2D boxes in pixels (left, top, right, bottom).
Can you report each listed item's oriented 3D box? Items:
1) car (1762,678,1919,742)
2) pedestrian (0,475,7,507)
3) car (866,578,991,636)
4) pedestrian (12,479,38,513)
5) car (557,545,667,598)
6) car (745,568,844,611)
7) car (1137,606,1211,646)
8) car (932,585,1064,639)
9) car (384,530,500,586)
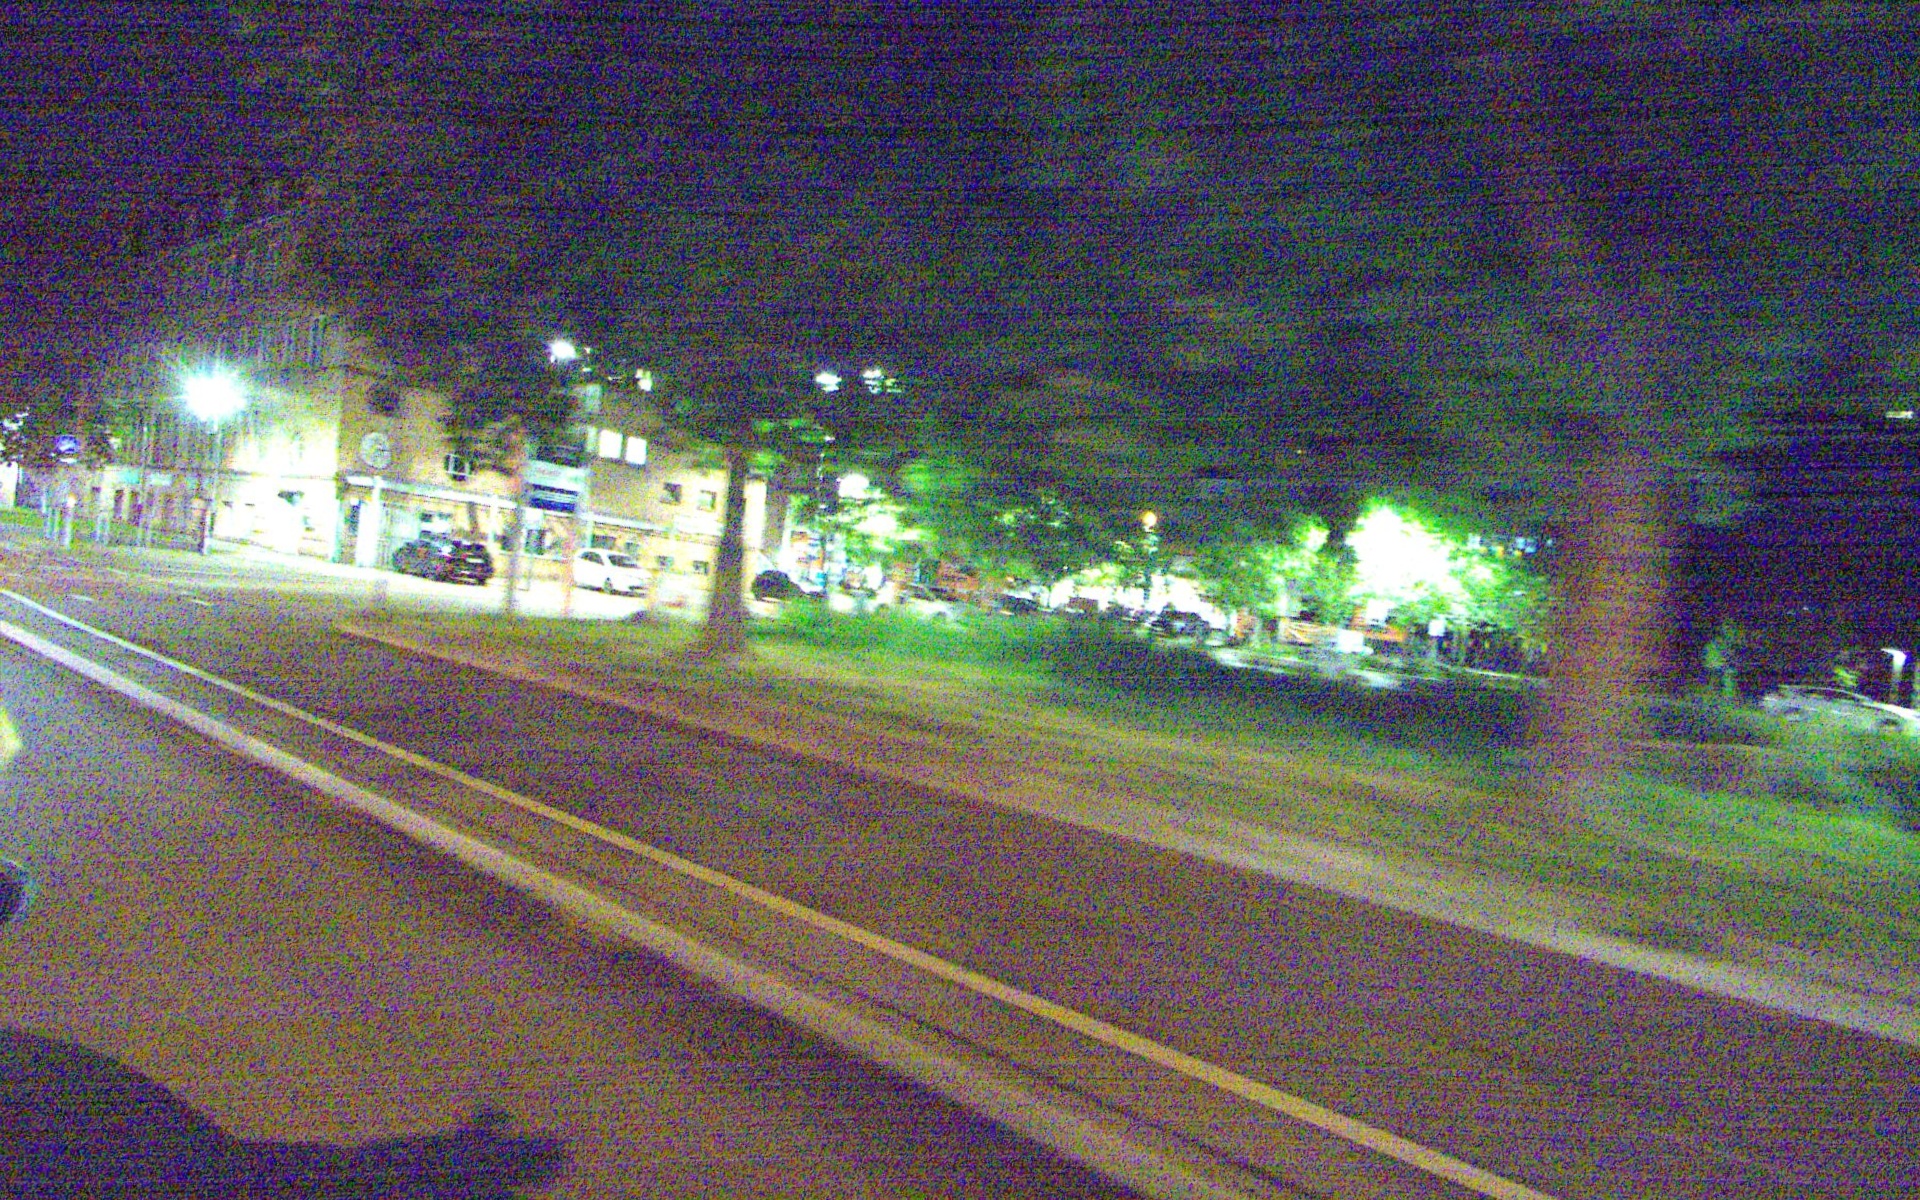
[{"bbox_3d":[31.003,3.817,35.266,4.234,1.527,1.992,7,2,36],"label":"car"},{"bbox_3d":[-54.701,-6.236,57.043,0.893,1.792,0.738,7,3,36],"label":"pedestrian"},{"bbox_3d":[-1.131,0.223,35.185,4.035,1.553,1.767,7,1,36],"label":"car"},{"bbox_3d":[-54.256,-6.018,58.367,0.893,1.792,0.900,7,3,36],"label":"pedestrian"},{"bbox_3d":[-13.231,-1.093,38.172,3.934,1.553,1.783,7,1,32],"label":"car"},{"bbox_3d":[-7.596,-0.501,45.970,4.174,1.446,1.993,7,1,36],"label":"car"},{"bbox_3d":[11.765,1.424,55.098,2.048,1.788,4.534,7,1,37],"label":"car"},{"bbox_3d":[1.437,0.440,39.228,4.815,1.532,1.889,7,1,35],"label":"car"},{"bbox_3d":[-17.215,-1.408,33.363,4.412,1.413,1.512,7,1,36],"label":"car"}]
